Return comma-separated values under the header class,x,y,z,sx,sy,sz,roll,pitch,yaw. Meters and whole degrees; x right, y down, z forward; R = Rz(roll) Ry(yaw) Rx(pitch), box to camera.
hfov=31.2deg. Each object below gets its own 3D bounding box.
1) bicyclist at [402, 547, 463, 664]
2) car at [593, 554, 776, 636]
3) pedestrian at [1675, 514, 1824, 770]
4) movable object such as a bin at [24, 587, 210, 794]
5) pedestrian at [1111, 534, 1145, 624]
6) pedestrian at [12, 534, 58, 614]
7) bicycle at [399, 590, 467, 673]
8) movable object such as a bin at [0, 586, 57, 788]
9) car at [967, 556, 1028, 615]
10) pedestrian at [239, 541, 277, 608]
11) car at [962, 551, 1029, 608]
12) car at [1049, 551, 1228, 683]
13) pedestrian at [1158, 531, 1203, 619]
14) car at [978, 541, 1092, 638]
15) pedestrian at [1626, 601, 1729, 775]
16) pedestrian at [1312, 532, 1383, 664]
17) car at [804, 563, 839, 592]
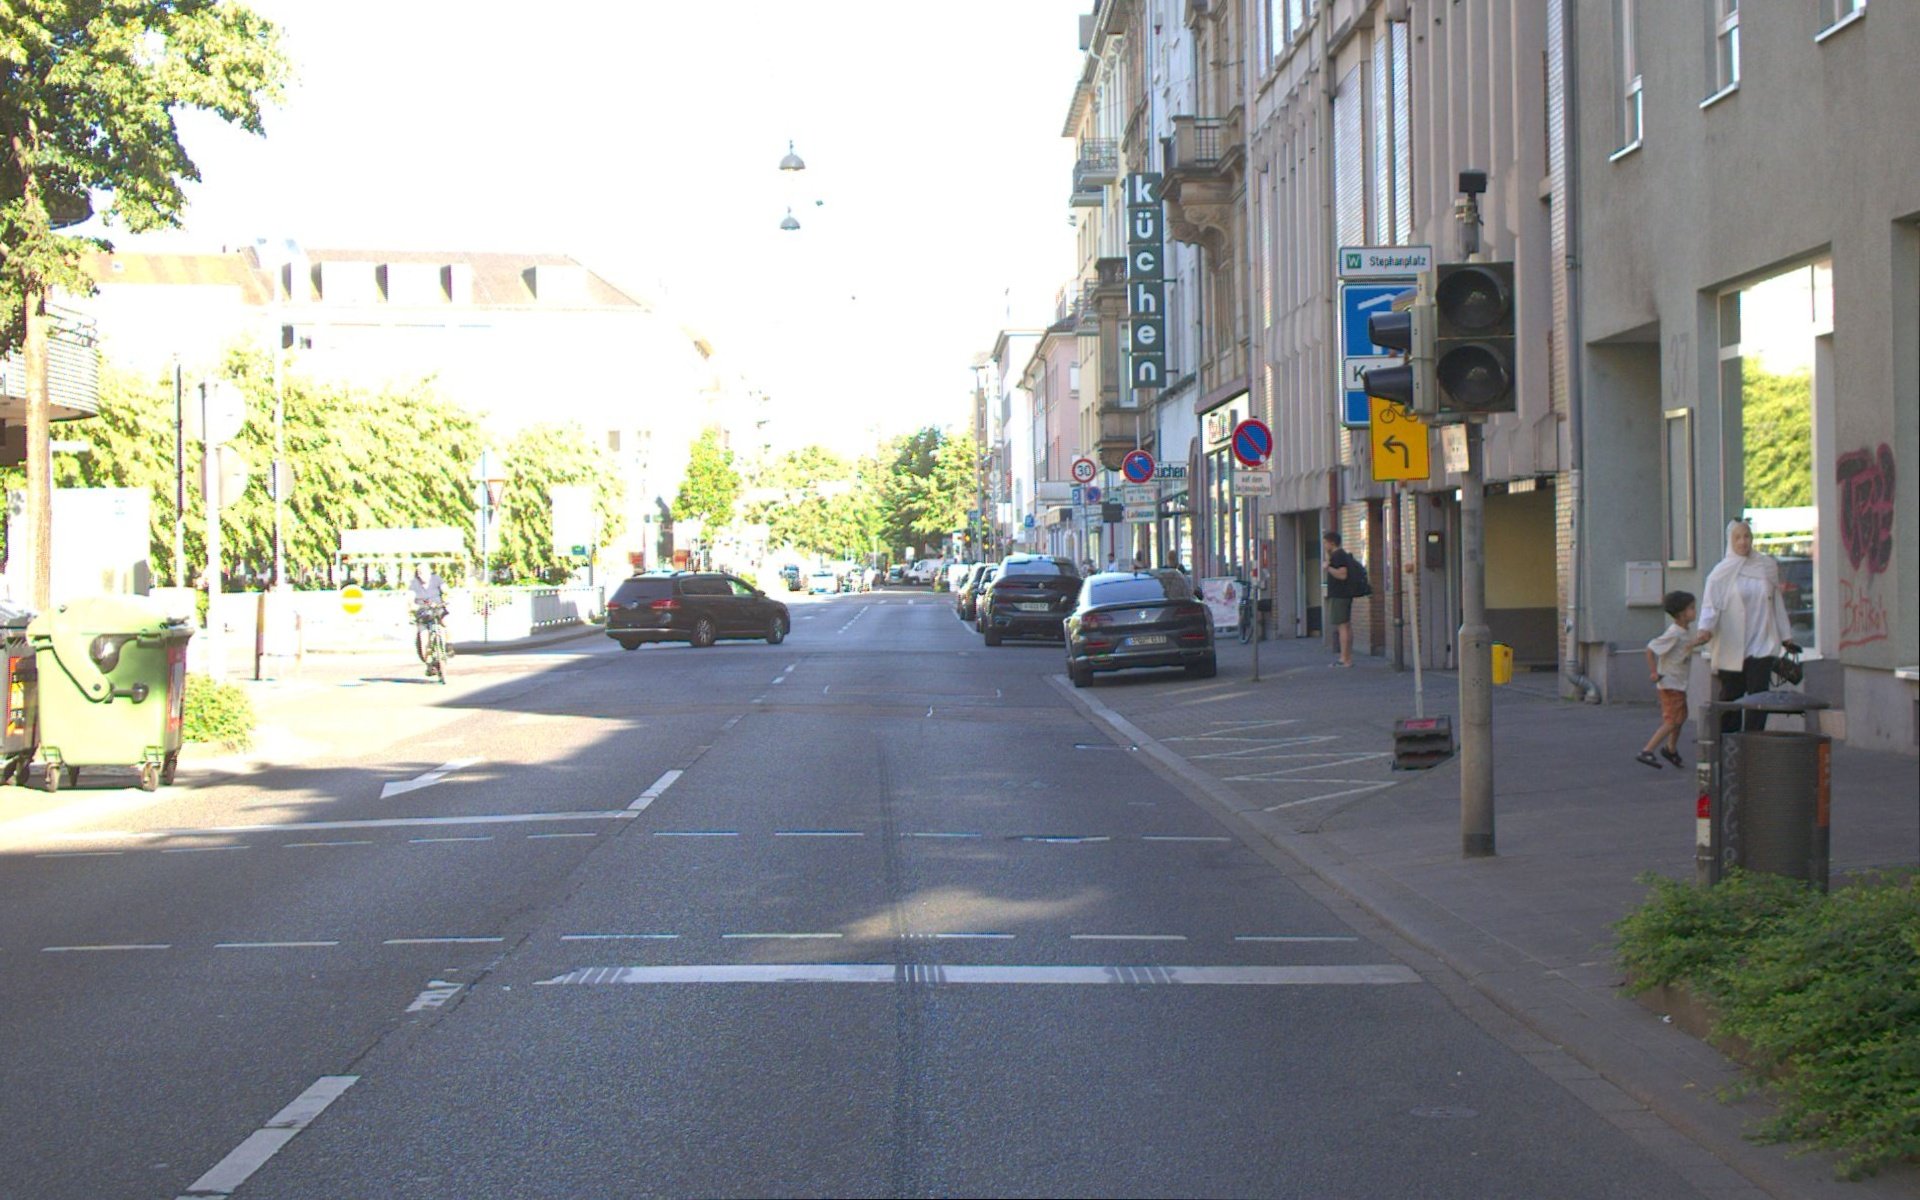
class,x,y,z,sx,sy,sz,roll,pitch,yaw
bicyclist,-7.576,0.075,49.403,0.696,1.647,1.036,-2,1,-2
car,-5.205,-0.111,65.432,1.936,1.482,4.267,0,1,19
pedestrian,5.020,0.255,21.902,0.580,1.554,1.021,-4,1,-2
movable object such as a bin,-6.287,0.659,25.729,1.042,1.466,1.453,-1,1,-2
pedestrian,3.293,-0.411,67.352,0.620,1.760,0.518,-1,0,2
pedestrian,-24.735,-0.696,91.967,0.733,2.101,0.966,0,1,22
bicycle,-7.569,0.443,49.474,0.705,1.142,1.968,-2,1,-2
movable object such as a bin,-7.424,0.647,25.688,1.042,1.466,1.143,-1,1,-2
car,1.020,-0.410,94.142,1.613,1.541,2.855,0,1,0
pedestrian,-22.247,-0.801,108.942,0.733,2.101,0.966,0,1,22
car,1.014,-0.583,100.375,1.716,1.630,4.084,0,0,-2
car,2.274,0.176,44.928,1.917,1.473,4.965,-5,1,0
pedestrian,4.312,-0.489,67.276,0.801,1.669,0.589,-3,0,2
car,1.362,-0.230,64.449,1.973,1.719,4.824,0,1,-1
pedestrian,4.449,0.535,21.342,0.393,1.030,0.740,-4,1,-2
pedestrian,4.918,-0.034,43.700,0.691,1.630,0.889,-3,1,-1
car,-8.703,-1.434,215.876,1.993,1.766,4.000,0,1,1
